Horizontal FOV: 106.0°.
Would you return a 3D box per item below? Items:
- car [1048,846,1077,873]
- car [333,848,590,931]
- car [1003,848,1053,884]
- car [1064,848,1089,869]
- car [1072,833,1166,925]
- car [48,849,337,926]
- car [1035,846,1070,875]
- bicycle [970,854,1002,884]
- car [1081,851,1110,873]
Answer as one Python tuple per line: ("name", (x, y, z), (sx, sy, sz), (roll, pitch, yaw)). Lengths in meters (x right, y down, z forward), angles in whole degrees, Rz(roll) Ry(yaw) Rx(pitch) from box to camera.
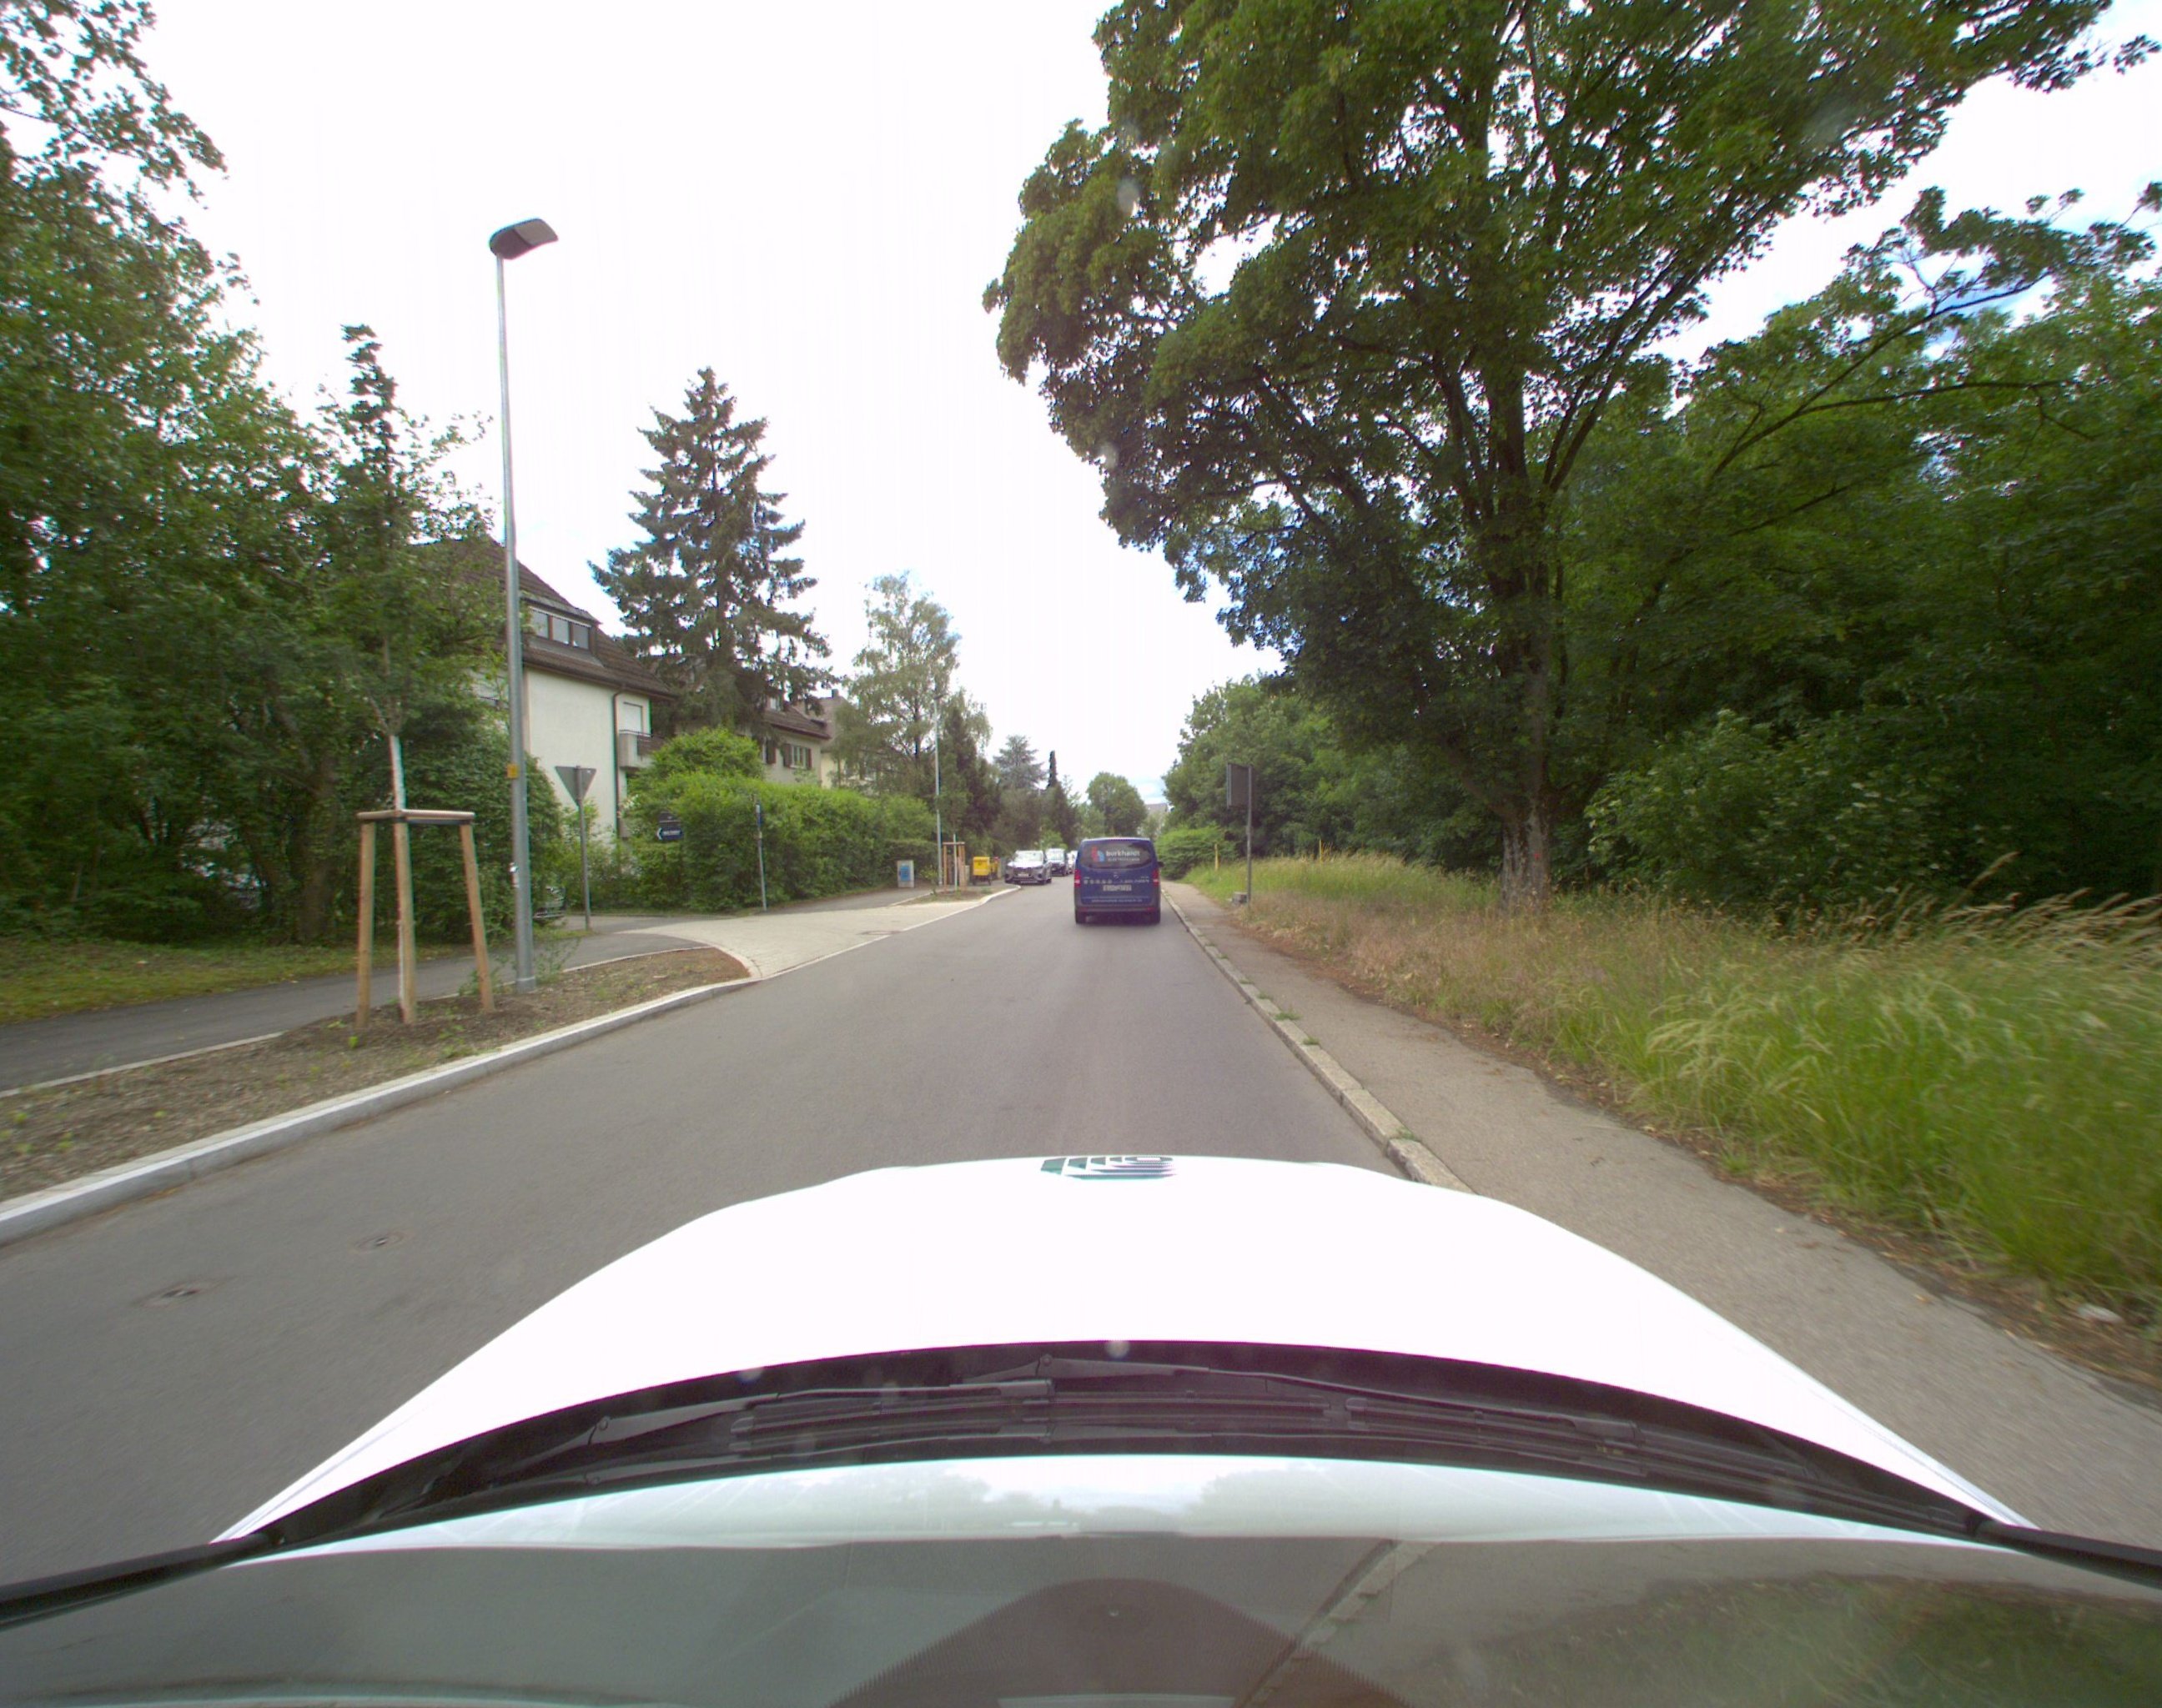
("car", (-1.289, 0.401, 58.612), (1.824, 1.804, 4.002), (-1, -1, 2))
("car", (-12.776, 0.686, 16.957), (3.968, 1.593, 1.871), (1, 0, 5))
("car", (-2.505, 0.532, 39.562), (1.828, 1.631, 4.305), (0, 0, 4))
("car", (-0.369, 0.384, 74.078), (1.883, 1.692, 4.554), (0, 2, 4))
("car", (0.803, 0.469, 18.799), (1.882, 1.843, 4.000), (-2, 2, 0))
("car", (-18.491, 0.655, 17.098), (3.973, 1.494, 1.868), (1, 0, 0))
("car", (-1.782, 0.400, 52.456), (1.824, 1.751, 4.004), (0, 1, 4))
("bicycle", (-4.263, 0.655, 36.704), (0.902, 1.252, 2.919), (1, 0, 4))
("car", (1.044, 0.534, 56.909), (1.811, 1.443, 4.004), (0, 0, 4))
